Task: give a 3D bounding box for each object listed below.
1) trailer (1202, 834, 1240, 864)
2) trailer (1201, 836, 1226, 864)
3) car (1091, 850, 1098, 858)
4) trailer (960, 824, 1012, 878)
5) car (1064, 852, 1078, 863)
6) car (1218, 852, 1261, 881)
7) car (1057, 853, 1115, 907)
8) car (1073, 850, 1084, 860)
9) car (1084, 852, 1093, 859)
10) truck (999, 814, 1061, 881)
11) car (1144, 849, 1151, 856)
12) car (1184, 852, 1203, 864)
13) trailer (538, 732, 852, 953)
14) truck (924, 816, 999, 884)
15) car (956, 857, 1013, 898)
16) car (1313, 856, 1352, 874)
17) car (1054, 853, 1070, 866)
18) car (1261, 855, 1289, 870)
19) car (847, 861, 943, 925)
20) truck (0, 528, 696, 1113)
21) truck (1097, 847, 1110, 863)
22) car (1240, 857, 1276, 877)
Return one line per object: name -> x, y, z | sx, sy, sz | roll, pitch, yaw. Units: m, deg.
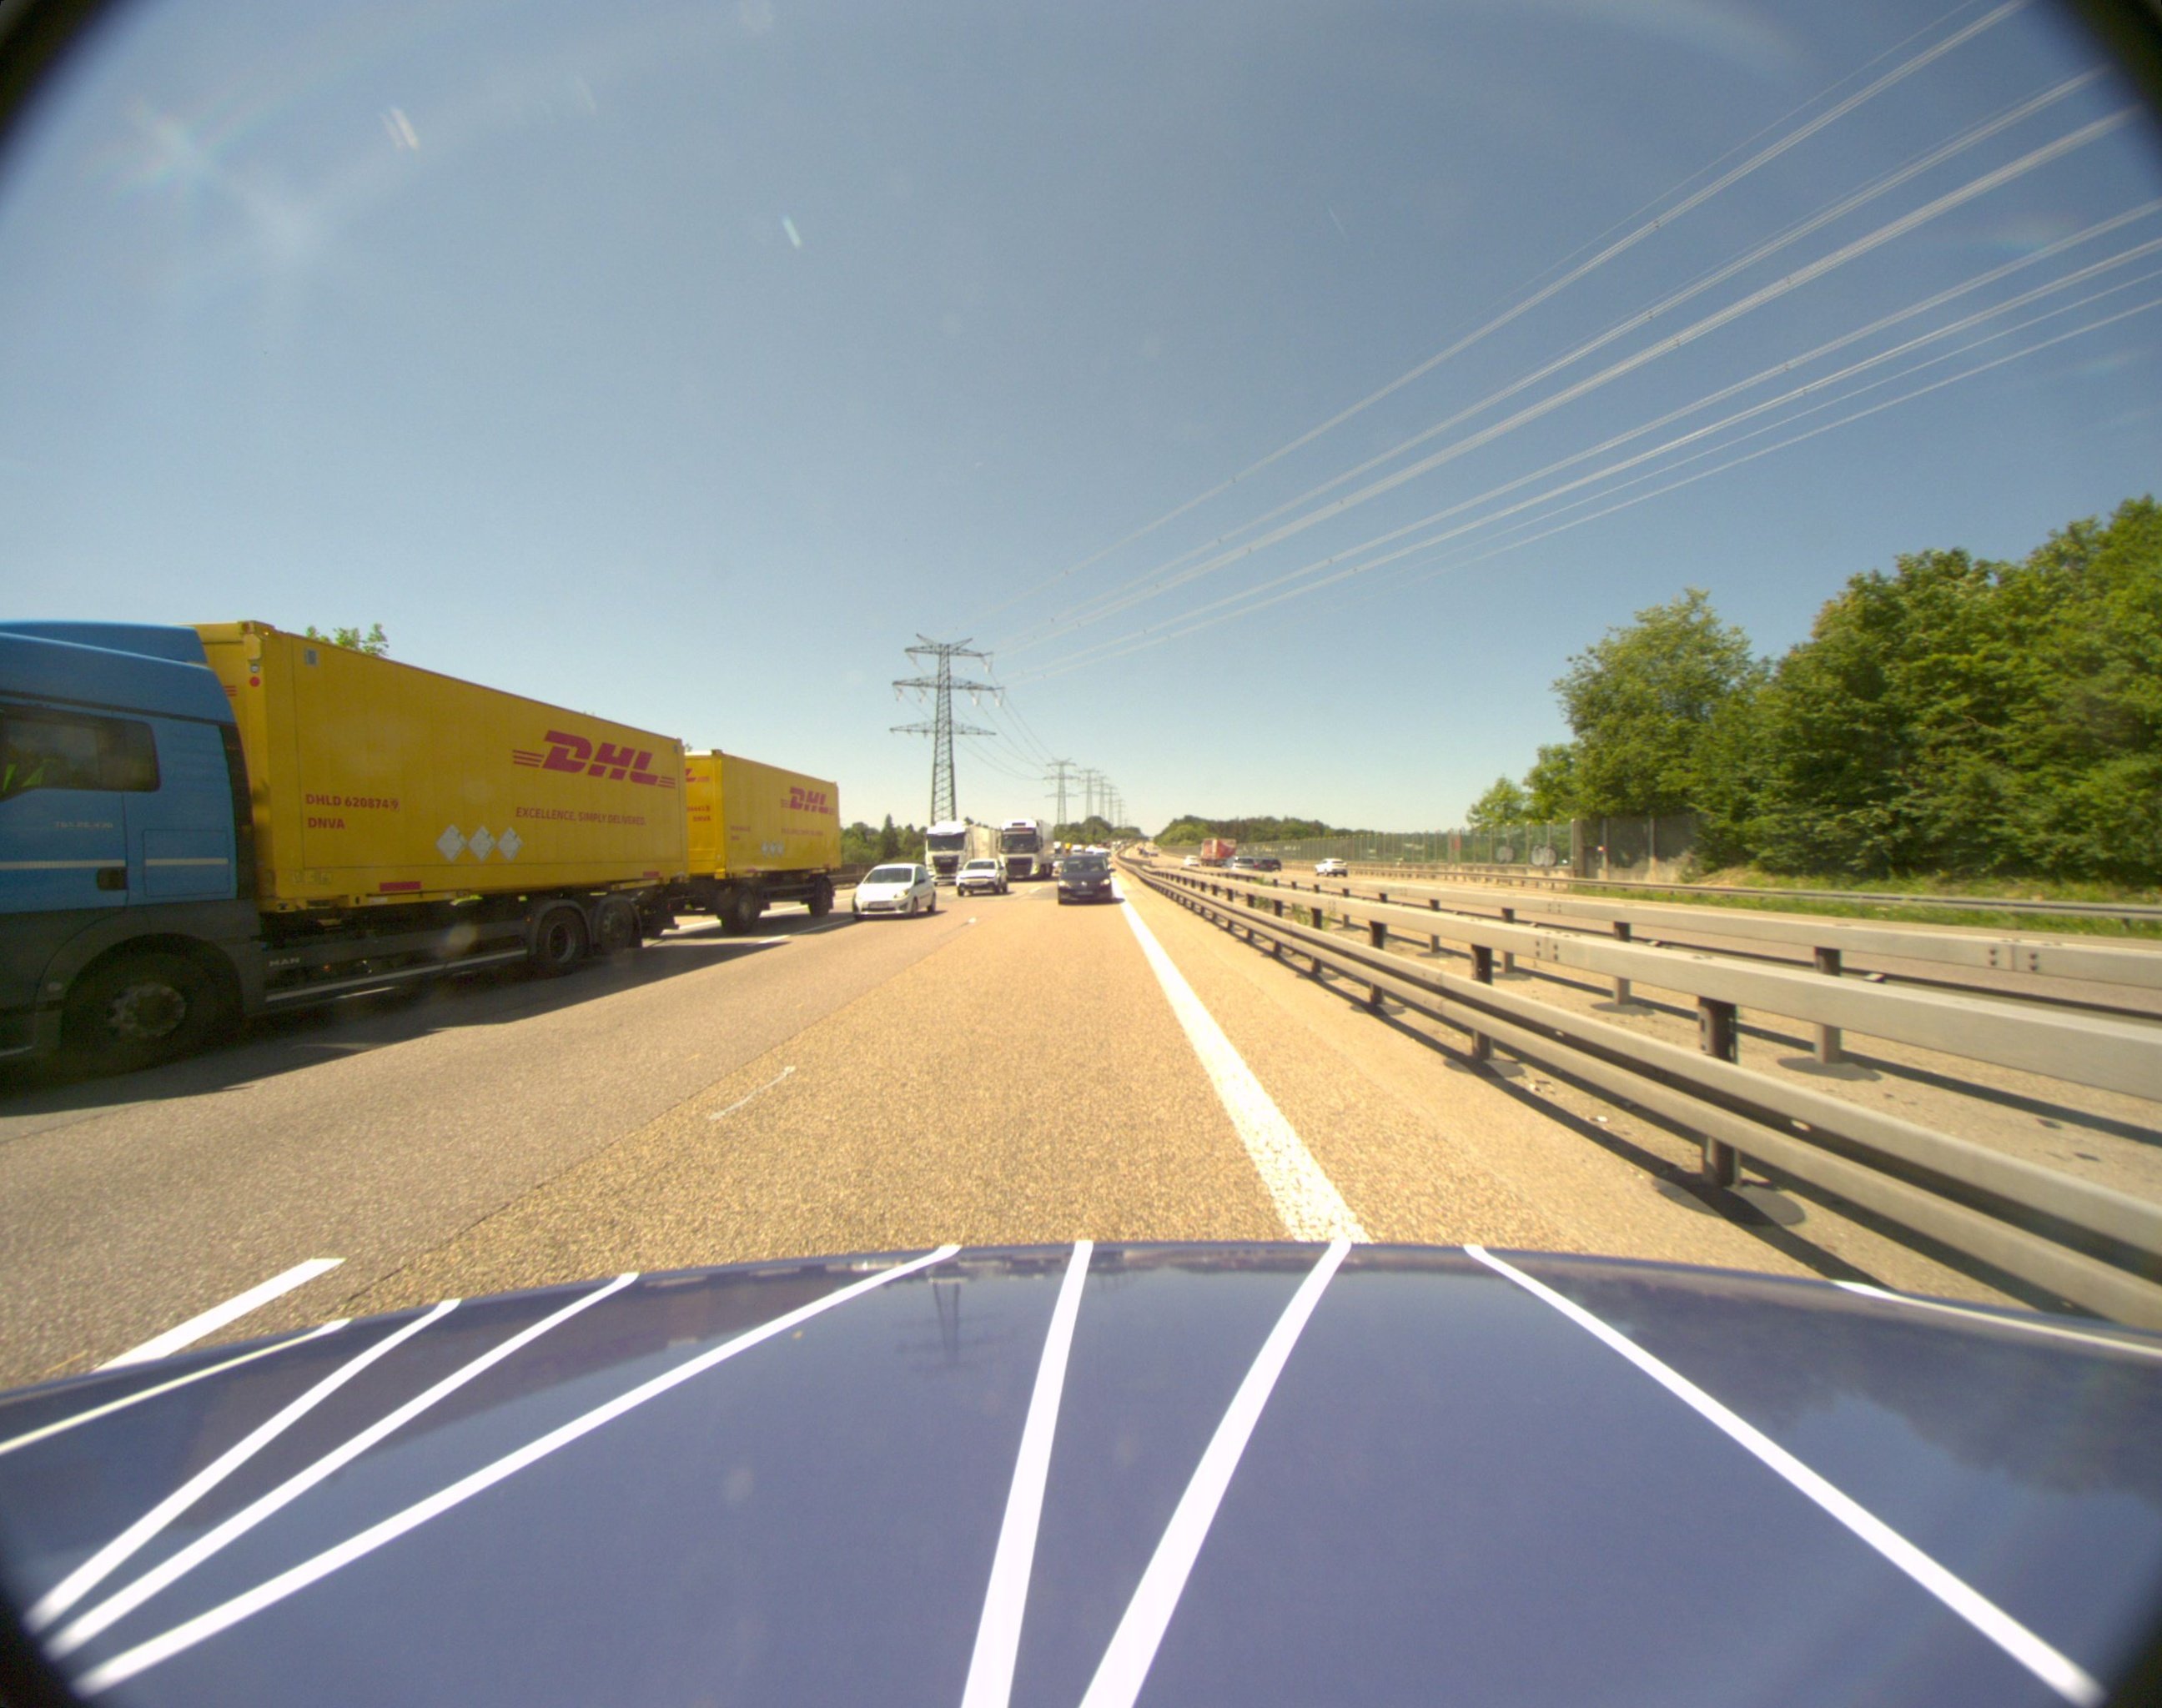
trailer -> 19.605, -0.617, 107.439 | 2.770, 3.953, 14.682 | 1, 0, 1
trailer -> 19.737, -0.592, 113.352 | 2.763, 3.953, 6.132 | 1, 0, 1
car -> 3.839, -0.037, 218.198 | 1.998, 2.002, 4.000 | -2, 1, 2
trailer -> -7.294, -0.241, 59.525 | 2.752, 3.918, 7.774 | -2, 0, 2
car -> -1.482, 0.494, 113.477 | 1.821, 1.569, 4.000 | -2, 1, 2
car -> 9.664, 0.711, 46.556 | 1.778, 1.621, 3.950 | -2, 1, 0
car -> 0.232, 0.805, 25.447 | 1.748, 1.569, 4.000 | -2, 1, 2
car -> -0.438, 0.180, 135.400 | 1.821, 1.569, 4.000 | -2, 1, 2
car -> 1.803, 0.331, 182.505 | 1.821, 1.569, 4.000 | -2, 1, 2
truck -> -3.323, -0.414, 54.026 | 2.717, 4.015, 14.257 | -2, 0, 2
car -> 20.880, -0.475, 239.147 | 1.998, 1.929, 4.896 | -2, 1, 2
car -> 15.228, 0.544, 102.881 | 1.855, 1.458, 4.304 | 0, 1, 0
trailer -> -8.740, -0.179, 19.100 | 2.772, 4.093, 9.378 | -2, 0, 1
truck -> -7.571, -0.244, 49.969 | 2.695, 3.907, 11.297 | -2, 0, 2
car -> -4.091, 0.964, 32.826 | 1.776, 1.521, 3.851 | -2, 1, 2
car -> 21.460, 0.914, 65.007 | 1.690, 1.447, 4.343 | 1, 1, -4
car -> -2.371, 0.729, 97.438 | 1.821, 1.569, 4.000 | -2, 1, 2
car -> 22.785, 1.016, 89.330 | 1.998, 1.567, 5.275 | -2, 1, 2
car -> -5.135, 1.029, 21.480 | 1.659, 1.501, 3.825 | -2, 1, 1
truck -> -8.871, -0.176, 9.568 | 2.772, 4.085, 9.953 | -2, 0, 0
truck -> 4.066, 0.200, 136.772 | 2.309, 2.789, 5.110 | -2, 1, 2
car -> 13.779, 0.966, 59.388 | 1.881, 1.438, 4.144 | 1, 1, 0
